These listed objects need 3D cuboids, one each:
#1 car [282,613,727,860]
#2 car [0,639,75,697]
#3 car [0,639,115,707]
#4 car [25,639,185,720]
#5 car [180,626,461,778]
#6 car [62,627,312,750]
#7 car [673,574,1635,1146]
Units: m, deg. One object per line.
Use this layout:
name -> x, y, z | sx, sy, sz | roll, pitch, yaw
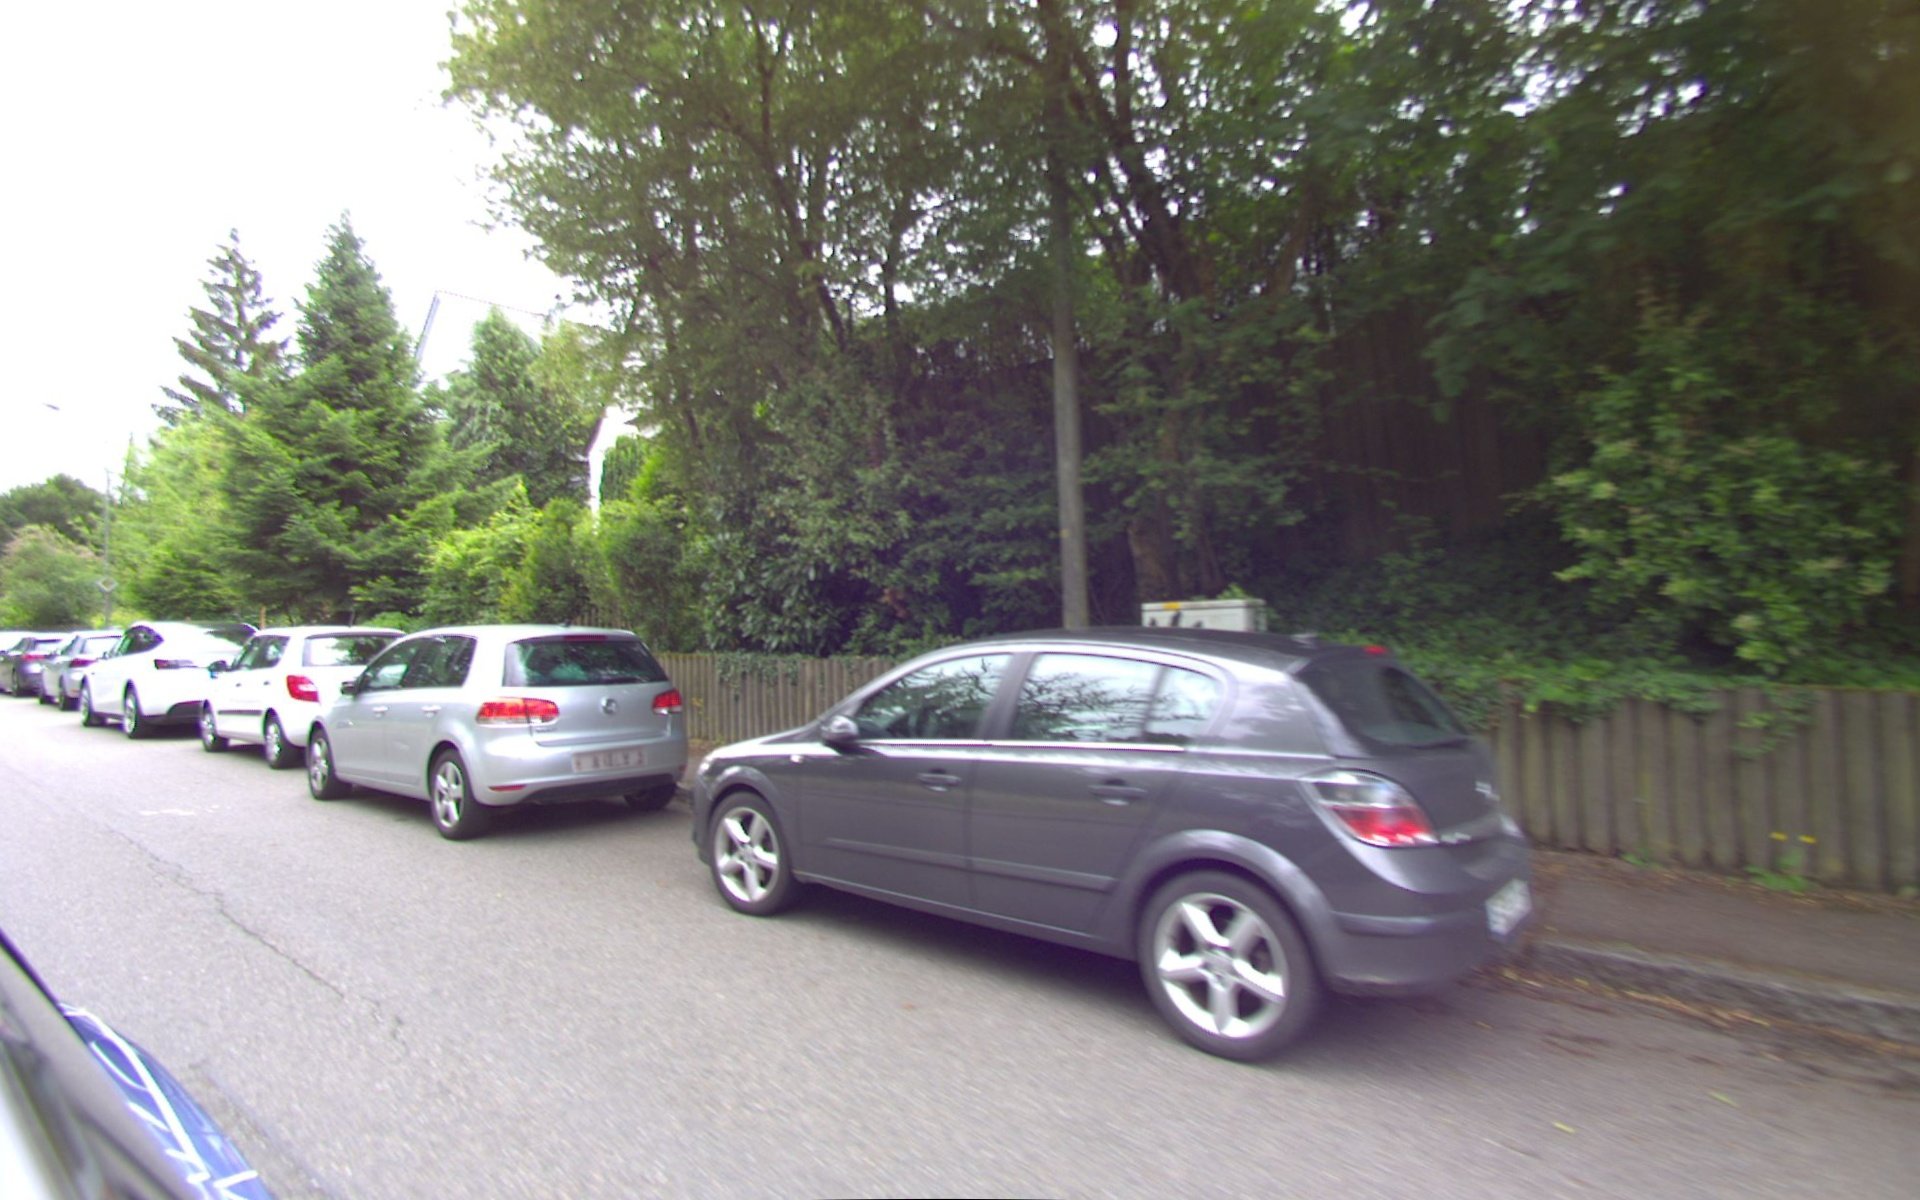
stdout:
car -> -3.827, 0.924, 8.209 | 4.004, 1.516, 1.703 | -2, -4, 40
car -> -25.993, 1.820, 27.743 | 4.905, 1.450, 1.830 | -2, -3, 39
car -> -21.557, 1.663, 23.823 | 4.257, 1.450, 1.717 | -2, -2, 38
car -> -17.120, 1.510, 20.202 | 4.114, 1.450, 1.815 | -2, -3, 41
car -> -7.633, 1.106, 11.968 | 3.813, 1.516, 1.703 | -2, -4, 40
car -> -11.694, 1.246, 15.208 | 4.598, 1.574, 1.897 | -2, -4, 39
car -> 0.577, 0.771, 4.688 | 4.057, 1.516, 1.702 | -2, -4, 41
